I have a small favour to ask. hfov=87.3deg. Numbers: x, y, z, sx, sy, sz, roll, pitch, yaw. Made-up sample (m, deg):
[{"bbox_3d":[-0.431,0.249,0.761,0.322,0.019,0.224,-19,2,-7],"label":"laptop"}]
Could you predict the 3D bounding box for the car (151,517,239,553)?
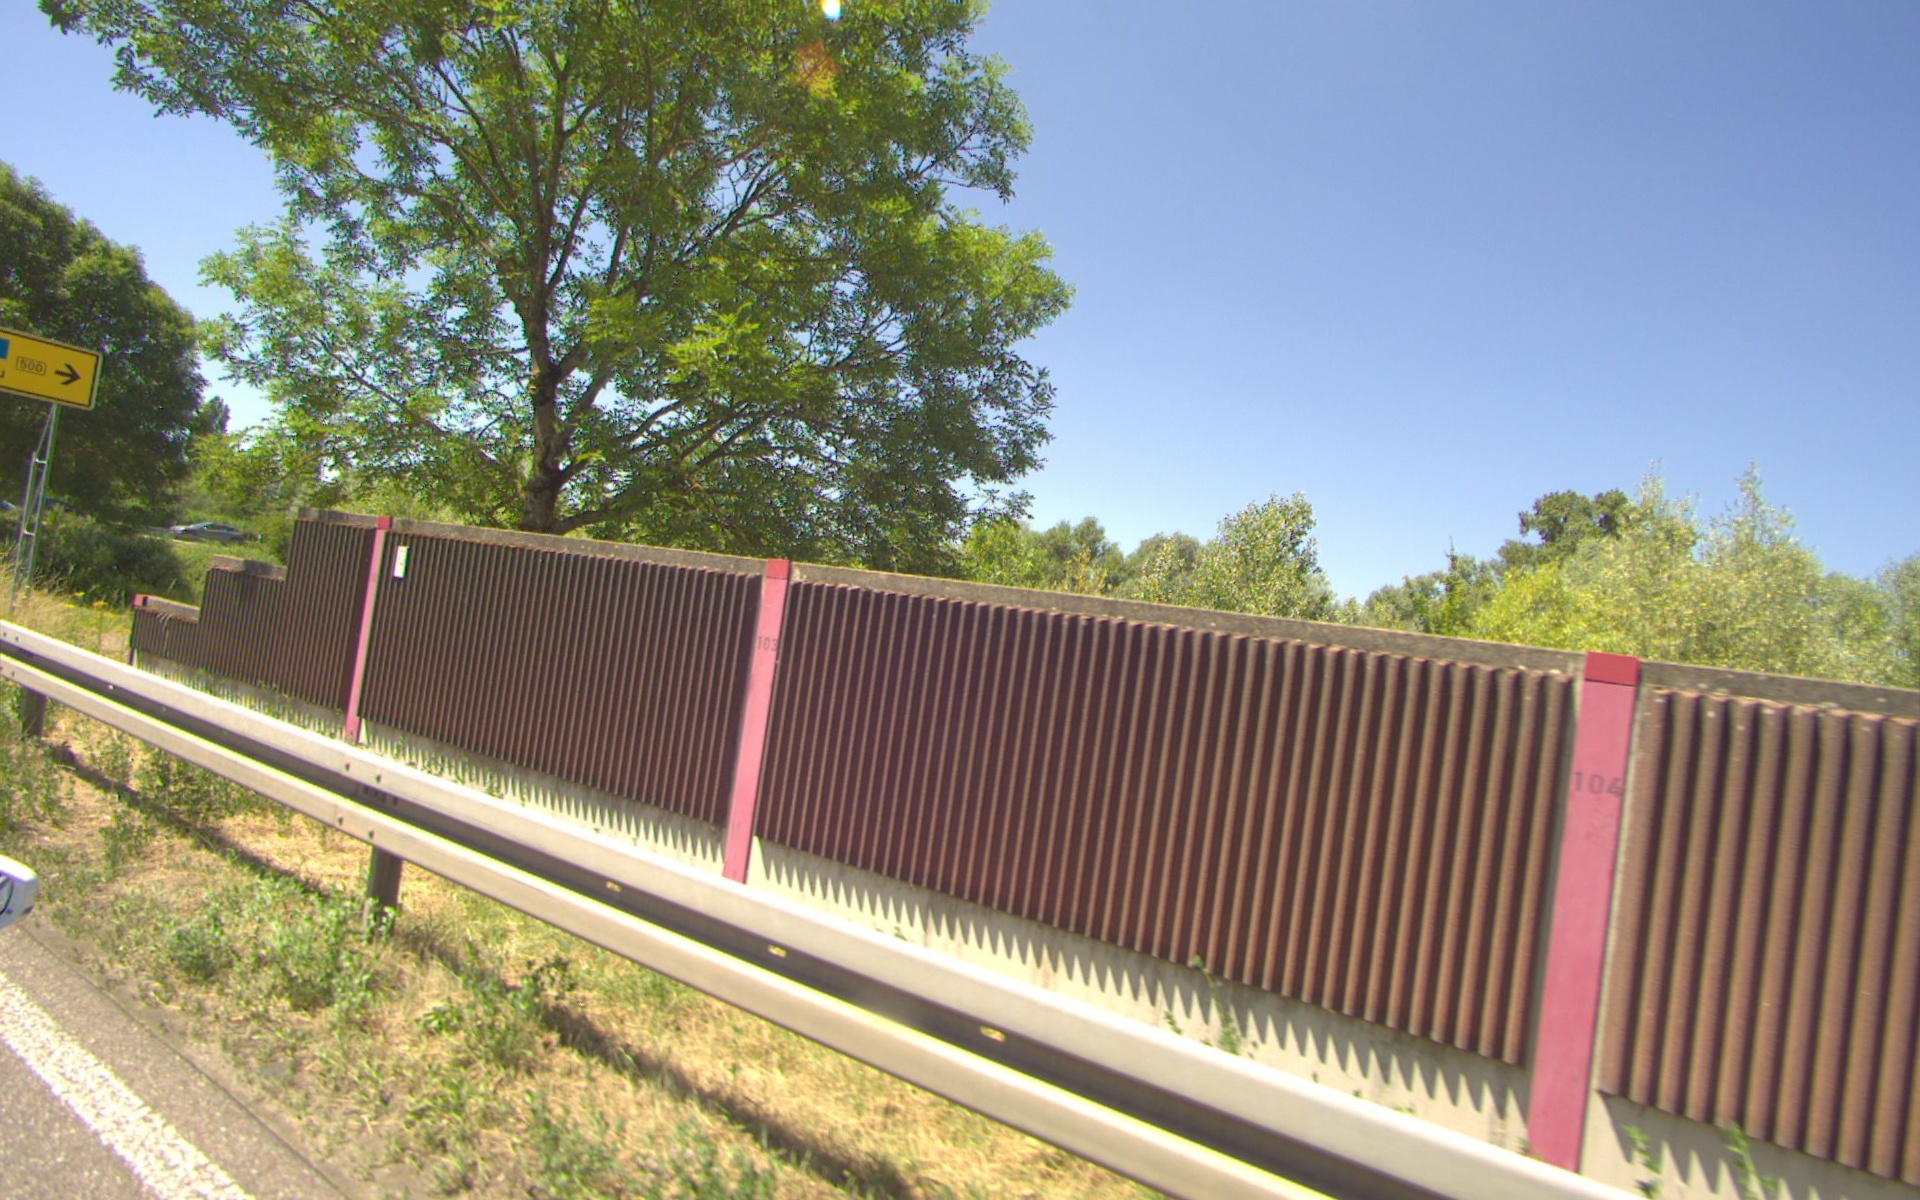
[{"bbox_3d":[-51.909,-4.399,68.299,1.901,1.650,4.233,7,-2,31],"label":"car"}]
